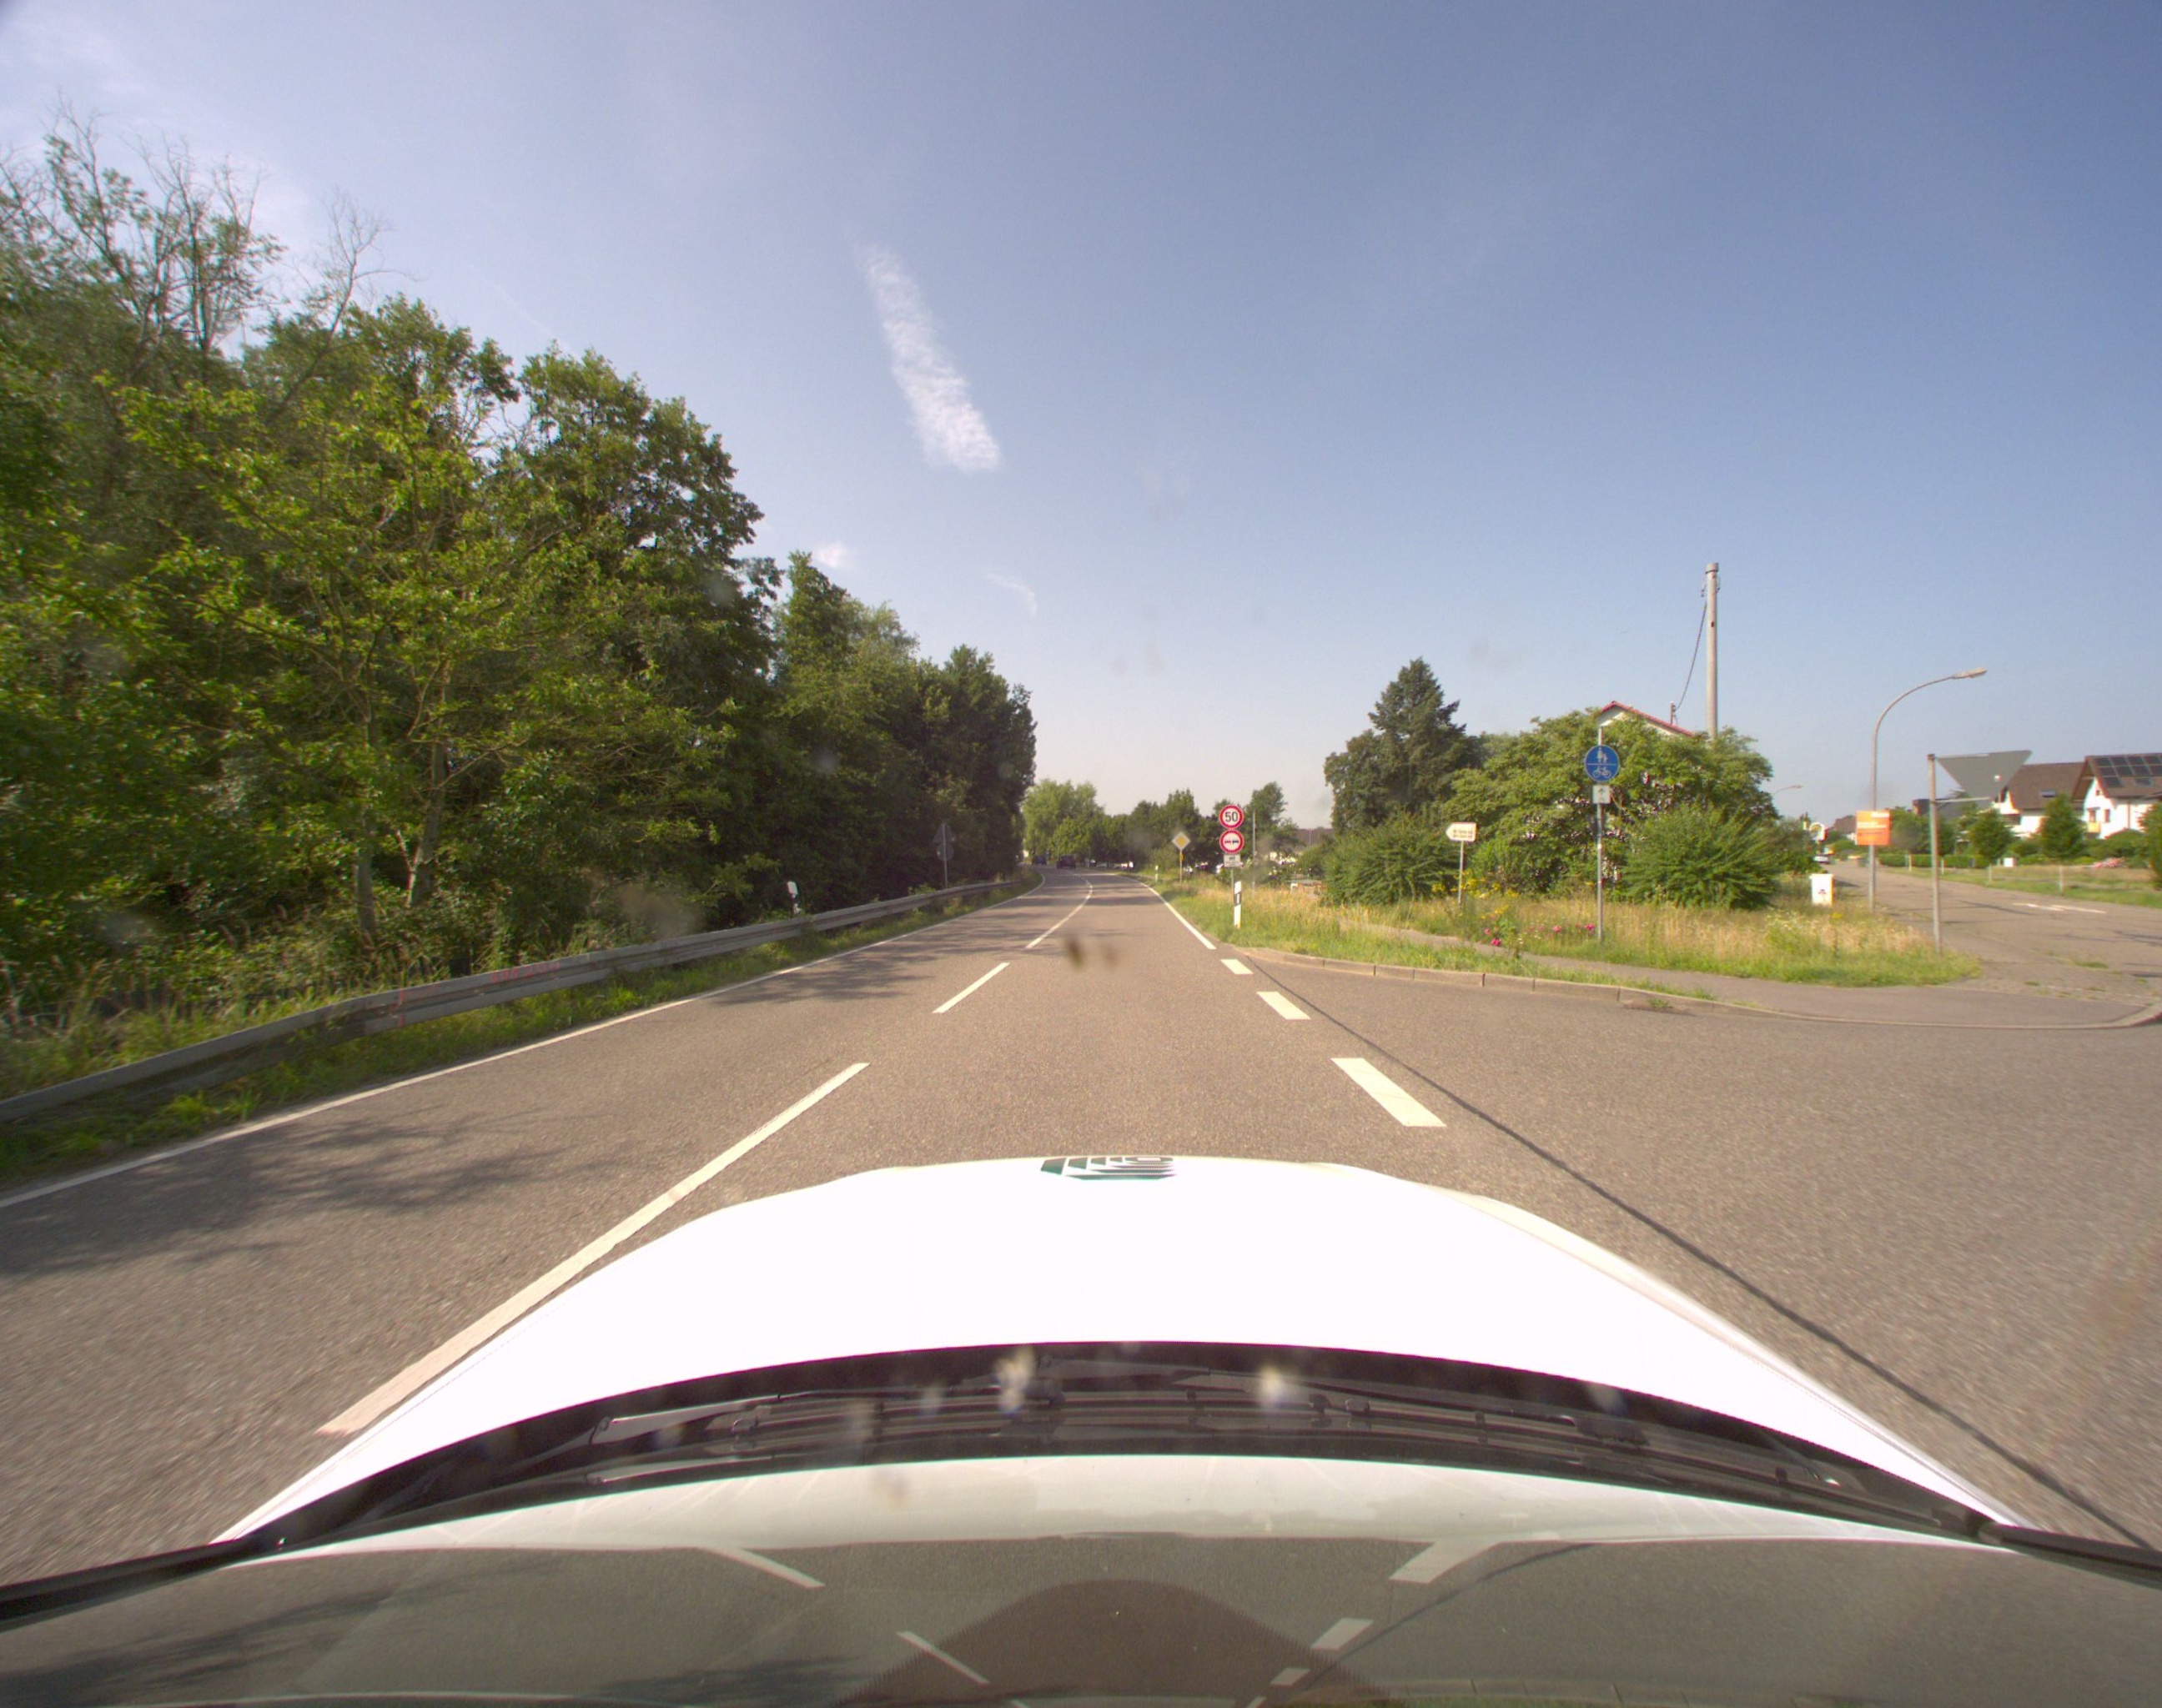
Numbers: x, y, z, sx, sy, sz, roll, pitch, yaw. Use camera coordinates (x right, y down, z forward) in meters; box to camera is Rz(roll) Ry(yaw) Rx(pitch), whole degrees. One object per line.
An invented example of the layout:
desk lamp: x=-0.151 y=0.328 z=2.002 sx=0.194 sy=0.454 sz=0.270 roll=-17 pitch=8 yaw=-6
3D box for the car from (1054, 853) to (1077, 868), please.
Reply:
car: x=-1.895 y=0.782 z=98.811 sx=1.927 sy=1.771 sz=3.982 roll=1 pitch=1 yaw=-13

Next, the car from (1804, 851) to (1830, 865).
car: x=92.619 y=0.513 z=102.499 sx=1.873 sy=1.772 sz=4.025 roll=2 pitch=0 yaw=35

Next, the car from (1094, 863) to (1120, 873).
car: x=4.538 y=2.487 z=141.847 sx=4.232 sy=1.680 sz=1.885 roll=0 pitch=-1 yaw=-8

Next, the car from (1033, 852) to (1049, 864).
car: x=-6.100 y=0.617 z=123.820 sx=2.005 sy=1.771 sz=3.985 roll=1 pitch=1 yaw=-11
